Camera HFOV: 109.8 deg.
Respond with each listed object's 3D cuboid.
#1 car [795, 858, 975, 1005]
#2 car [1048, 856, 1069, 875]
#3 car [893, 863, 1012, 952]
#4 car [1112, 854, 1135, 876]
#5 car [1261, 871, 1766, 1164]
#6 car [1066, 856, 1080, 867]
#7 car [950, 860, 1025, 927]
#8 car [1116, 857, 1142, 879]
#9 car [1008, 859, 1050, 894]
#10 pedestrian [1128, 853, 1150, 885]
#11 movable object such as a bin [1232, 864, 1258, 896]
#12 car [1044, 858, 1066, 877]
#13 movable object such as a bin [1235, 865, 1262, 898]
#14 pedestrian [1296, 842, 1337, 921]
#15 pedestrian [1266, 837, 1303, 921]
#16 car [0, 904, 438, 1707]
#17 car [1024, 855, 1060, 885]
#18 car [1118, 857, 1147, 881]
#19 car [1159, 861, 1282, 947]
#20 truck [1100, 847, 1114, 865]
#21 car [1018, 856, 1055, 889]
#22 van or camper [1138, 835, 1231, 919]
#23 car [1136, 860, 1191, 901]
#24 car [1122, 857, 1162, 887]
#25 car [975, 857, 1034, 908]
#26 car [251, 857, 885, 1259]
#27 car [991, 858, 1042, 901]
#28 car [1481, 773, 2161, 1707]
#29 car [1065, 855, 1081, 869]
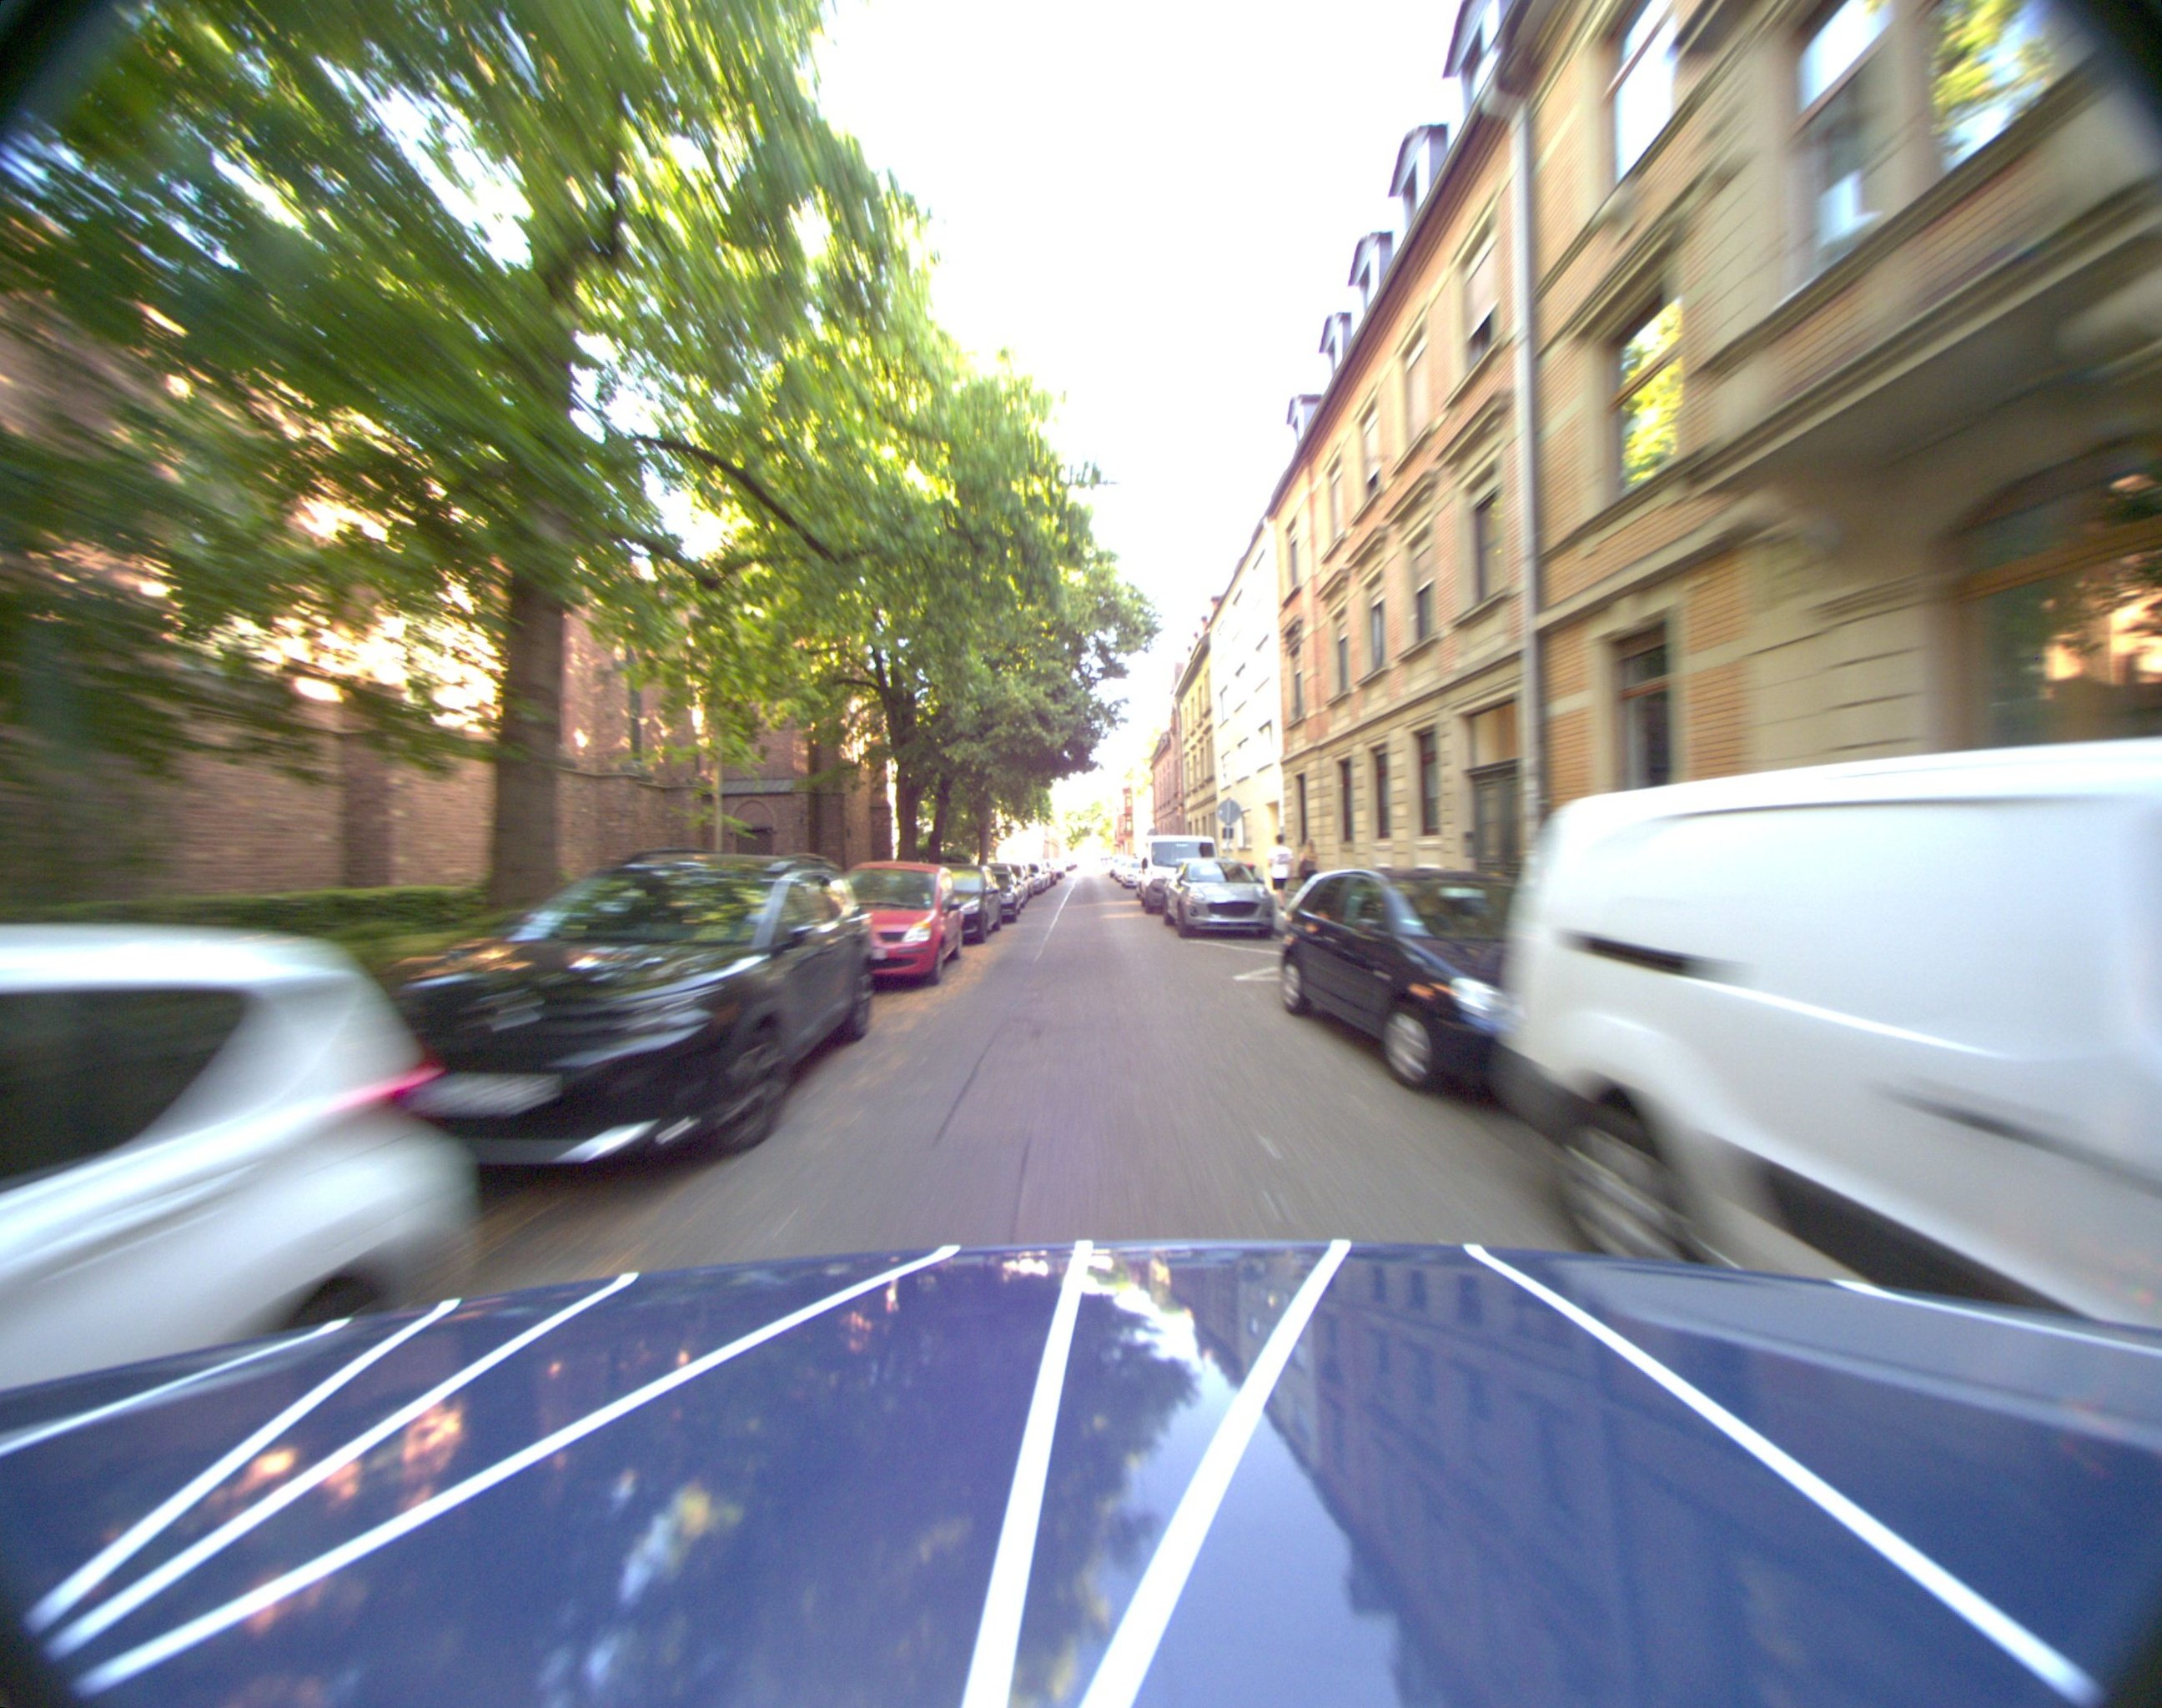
[{"bbox_3d":[-2.616,0.936,11.024,1.623,1.615,3.862,3,1,-1],"label":"car"},{"bbox_3d":[-1.941,1.004,66.270,1.713,1.511,3.831,0,1,-1],"label":"car"},{"bbox_3d":[-2.557,1.011,15.973,1.622,1.478,3.776,3,1,3],"label":"car"},{"bbox_3d":[3.323,0.829,59.981,1.713,1.664,4.278,1,1,2],"label":"car"},{"bbox_3d":[2.845,0.934,6.139,1.697,1.505,3.972,0,0,-2],"label":"car"},{"bbox_3d":[-1.303,1.278,126.964,1.998,1.659,4.001,-2,0,2],"label":"car"},{"bbox_3d":[-2.450,0.989,20.882,1.680,1.433,4.693,3,1,-3],"label":"car"},{"bbox_3d":[3.362,0.965,53.904,1.713,1.409,3.803,1,1,2],"label":"car"},{"bbox_3d":[-2.402,0.989,35.561,1.603,1.462,3.869,1,1,1],"label":"car"},{"bbox_3d":[3.331,0.852,43.778,1.114,1.792,0.490,-4,1,5],"label":"pedestrian"},{"bbox_3d":[5.797,0.903,26.931,0.802,1.082,0.666,-2,2,5],"label":"movable object such as a bin"},{"bbox_3d":[-2.061,1.042,60.742,1.625,1.428,4.002,0,1,-1],"label":"car"},{"bbox_3d":[5.735,0.942,26.079,0.802,1.082,0.666,-2,2,5],"label":"movable object such as a bin"},{"bbox_3d":[5.392,0.614,17.442,0.703,1.761,0.649,-2,2,1],"label":"pedestrian"},{"bbox_3d":[4.699,0.558,17.597,0.580,1.872,0.904,-2,2,1],"label":"pedestrian"},{"bbox_3d":[-2.695,0.950,0.221,1.723,1.562,3.828,-2,0,0],"label":"car"},{"bbox_3d":[-2.269,0.885,45.110,1.668,1.577,4.100,3,1,3],"label":"car"},{"bbox_3d":[3.305,0.918,49.182,1.713,1.409,3.803,1,1,2],"label":"car"},{"bbox_3d":[2.748,0.930,15.878,1.771,1.505,4.193,0,0,0],"label":"car"},{"bbox_3d":[3.848,0.258,114.322,1.971,2.643,5.885,0,0,1],"label":"truck"},{"bbox_3d":[-2.334,0.935,40.303,1.603,1.496,3.720,3,1,1],"label":"car"},{"bbox_3d":[2.861,0.594,22.178,2.182,2.135,5.155,0,0,2],"label":"van or camper"},{"bbox_3d":[3.018,0.946,28.534,1.735,1.394,4.316,0,0,2],"label":"car"},{"bbox_3d":[3.079,0.886,38.962,1.735,1.447,4.521,0,0,1],"label":"car"},{"bbox_3d":[-2.554,0.913,26.007,1.603,1.496,3.627,3,1,0],"label":"car"},{"bbox_3d":[-2.732,0.904,5.387,1.744,1.594,4.262,3,1,-3],"label":"car"},{"bbox_3d":[-2.547,0.982,30.627,1.603,1.459,3.563,3,1,1],"label":"car"},{"bbox_3d":[2.701,0.772,1.121,1.835,1.801,4.572,0,0,0],"label":"car"},{"bbox_3d":[-0.955,0.963,95.479,1.845,1.643,4.000,0,0,1],"label":"car"}]
